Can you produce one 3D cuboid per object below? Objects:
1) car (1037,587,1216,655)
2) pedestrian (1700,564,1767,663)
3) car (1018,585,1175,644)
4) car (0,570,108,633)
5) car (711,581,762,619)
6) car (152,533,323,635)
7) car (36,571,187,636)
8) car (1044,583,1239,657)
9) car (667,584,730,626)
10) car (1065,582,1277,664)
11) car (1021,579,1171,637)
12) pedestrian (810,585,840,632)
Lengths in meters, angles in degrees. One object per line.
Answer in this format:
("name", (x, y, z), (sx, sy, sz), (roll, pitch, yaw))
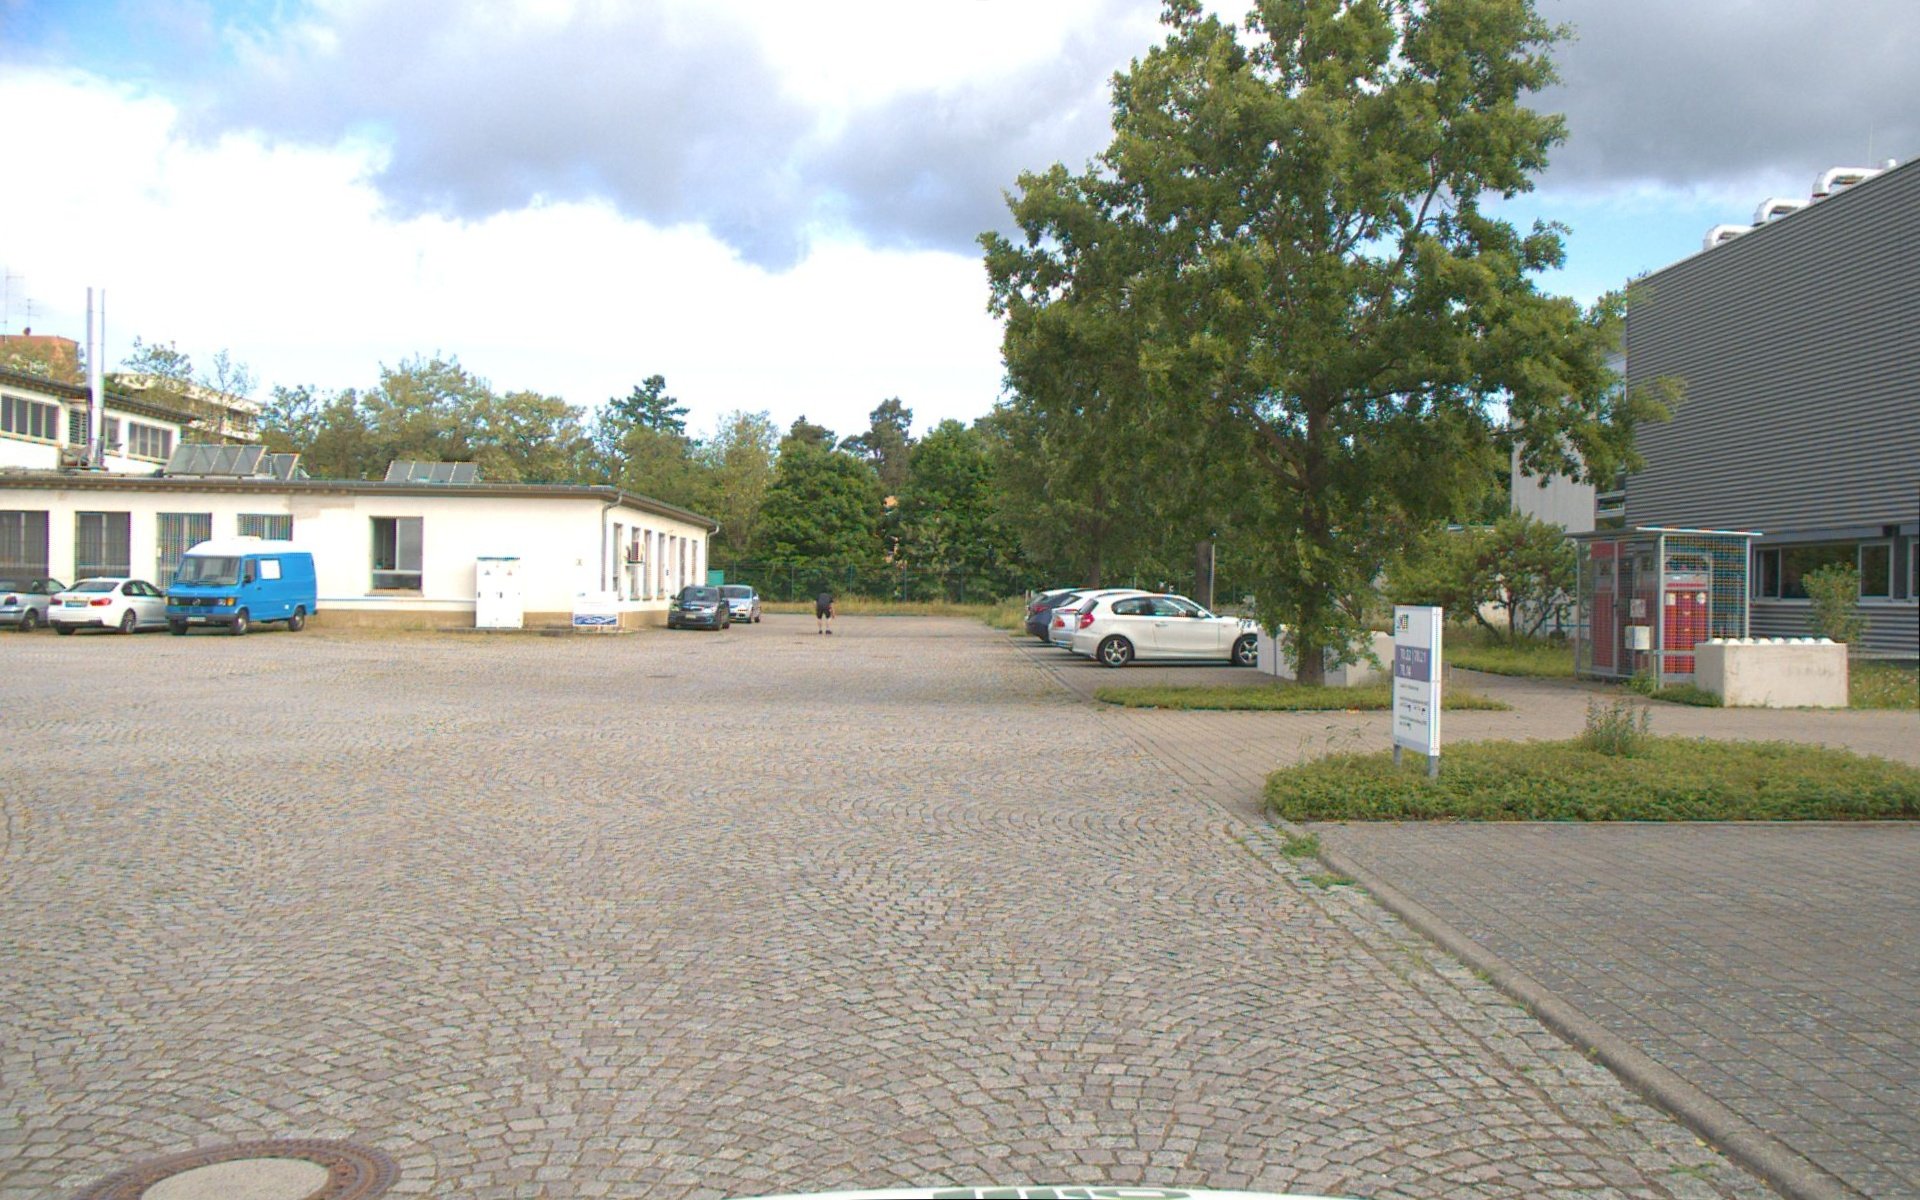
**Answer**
("car", (3.777, 0.466, 37.947), (3.906, 1.481, 1.769), (0, 0, -1))
("pedestrian", (15.594, 0.270, 33.347), (0.908, 1.970, 0.846), (1, 0, -31))
("car", (3.500, 0.367, 42.845), (3.906, 1.481, 1.769), (0, 0, -1))
("car", (-24.709, 0.010, 44.122), (1.862, 1.602, 4.000), (0, 0, 0))
("car", (-8.952, -0.008, 66.372), (1.714, 1.480, 3.997), (0, 0, -4))
("car", (-19.297, -0.424, 44.498), (1.952, 2.567, 5.619), (0, 0, 2))
("car", (-22.078, 0.073, 43.207), (1.862, 1.602, 4.000), (0, 0, 0))
("car", (3.784, 0.403, 34.907), (3.906, 1.481, 1.697), (0, 0, -1))
("car", (-8.872, 0.155, 56.401), (1.714, 1.387, 3.997), (0, 0, -4))
("car", (4.119, 0.445, 32.746), (3.906, 1.481, 2.000), (1, 0, -1))
("car", (3.754, 0.223, 46.066), (3.909, 1.560, 1.998), (0, 0, -5))
("pedestrian", (-4.625, 0.292, 56.704), (0.921, 1.595, 0.971), (0, 0, -1))
